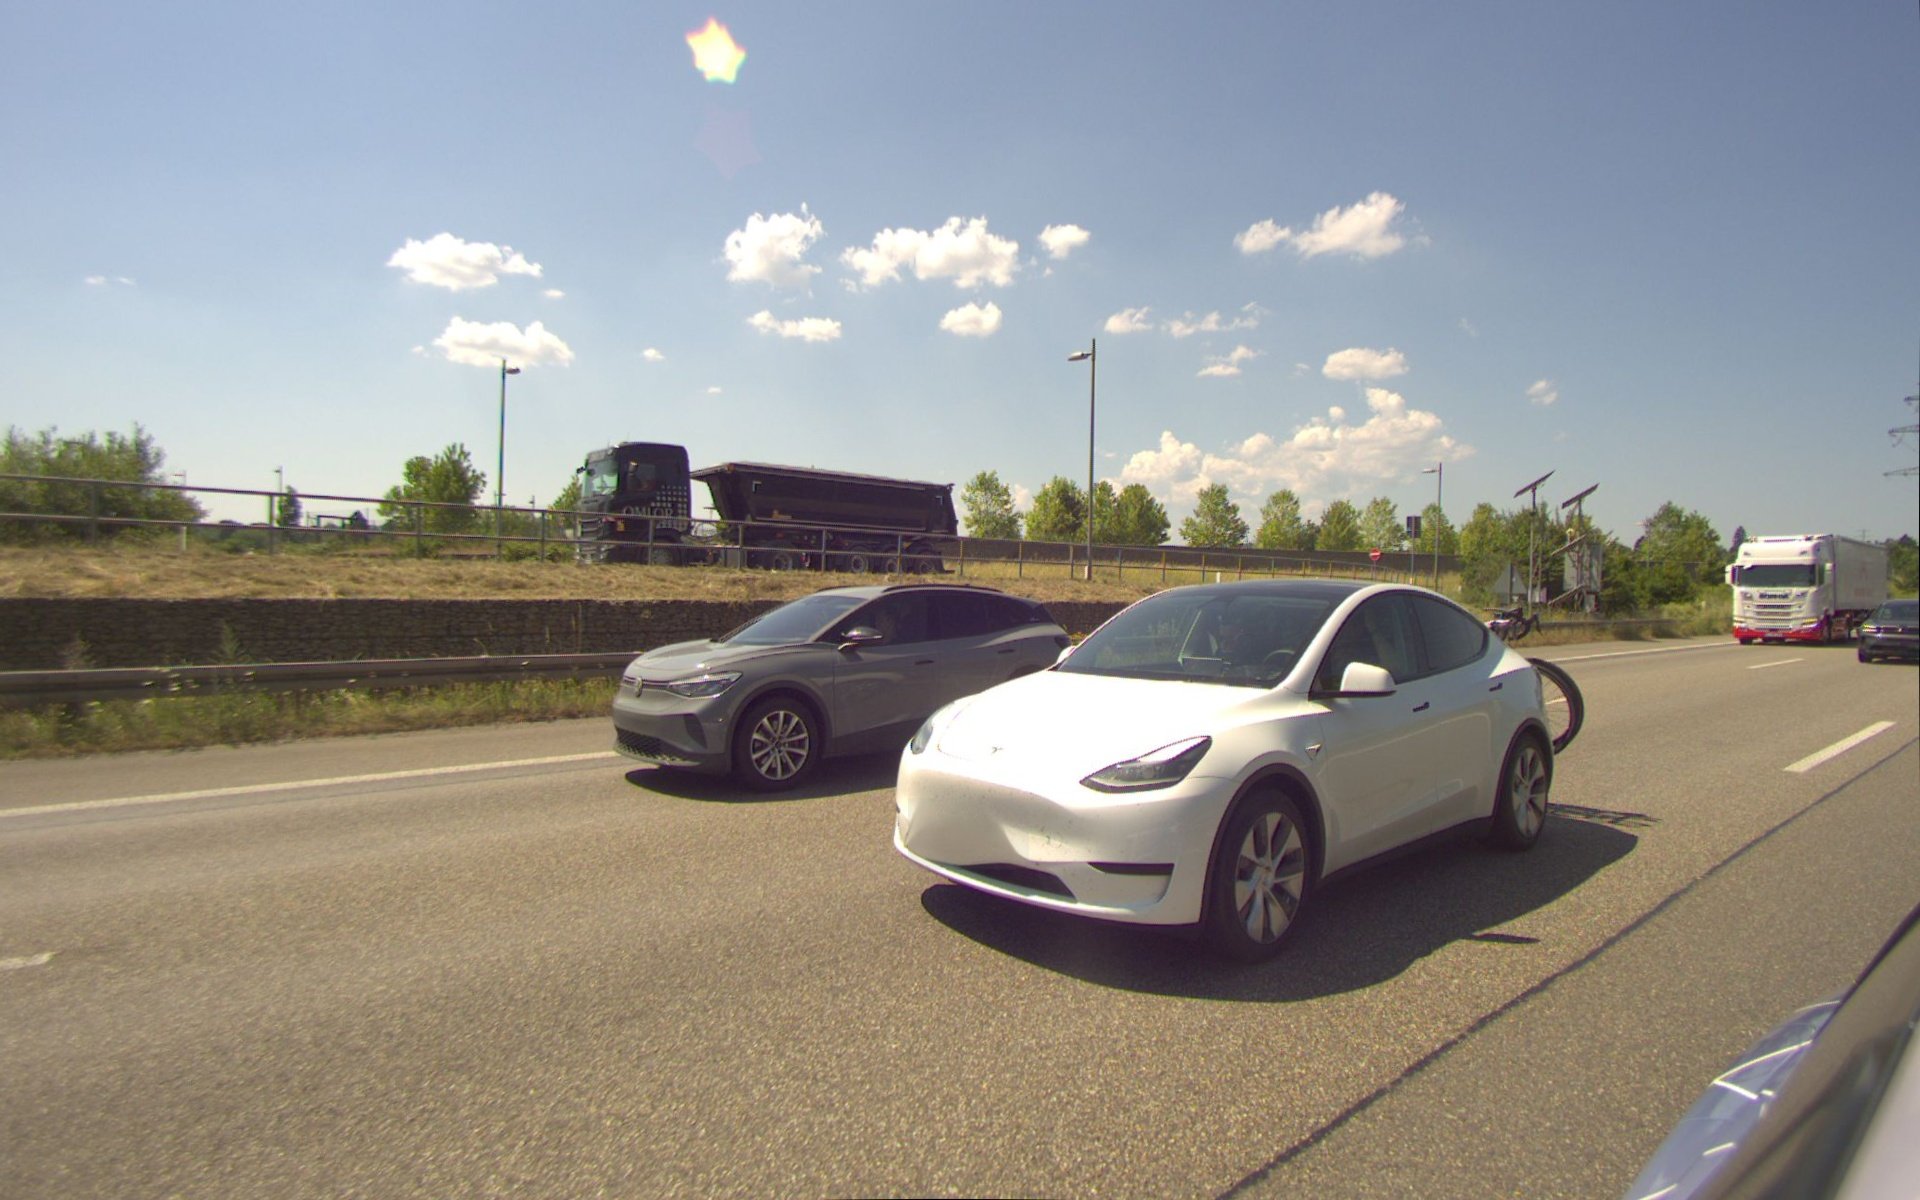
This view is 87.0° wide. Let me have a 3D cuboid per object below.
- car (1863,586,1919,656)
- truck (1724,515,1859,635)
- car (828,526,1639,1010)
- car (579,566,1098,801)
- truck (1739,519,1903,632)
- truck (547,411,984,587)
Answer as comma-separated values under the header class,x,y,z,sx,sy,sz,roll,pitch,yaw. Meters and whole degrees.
class,x,y,z,sx,sy,sz,roll,pitch,yaw
car,24.471,0.478,25.490,3.974,1.667,1.955,-1,0,-39
truck,29.395,-0.854,35.775,3.779,3.957,3.074,0,0,-40
car,2.058,0.548,6.028,5.503,1.657,1.953,-1,0,-41
car,-0.923,0.565,9.331,4.506,1.657,1.871,-1,0,-41
truck,34.610,-0.901,40.399,12.283,3.957,3.074,0,0,-40
truck,-5.077,-2.474,29.423,12.302,4.134,3.794,-1,0,-42
